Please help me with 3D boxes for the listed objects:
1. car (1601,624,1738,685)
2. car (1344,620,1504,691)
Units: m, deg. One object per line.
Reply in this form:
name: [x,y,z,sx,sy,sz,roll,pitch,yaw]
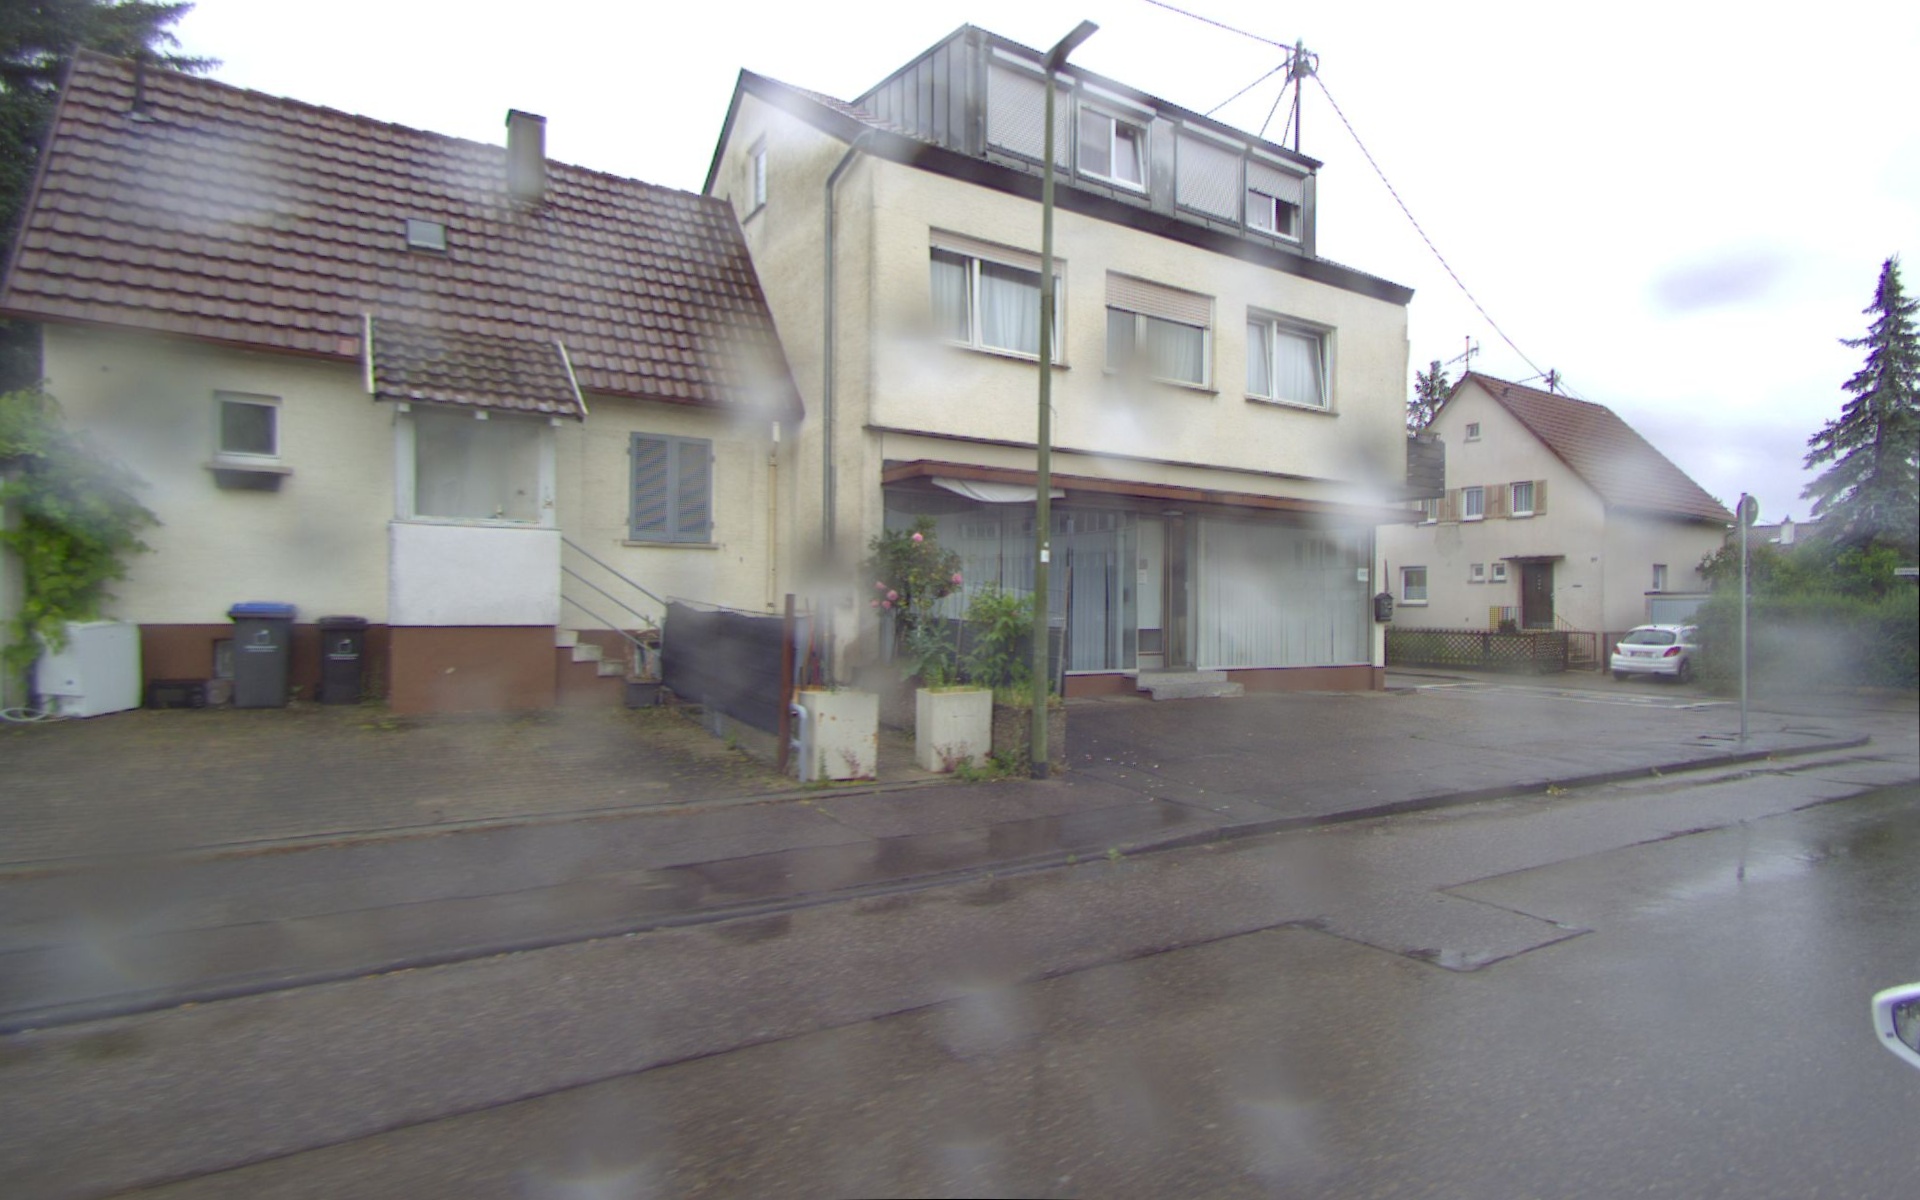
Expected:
car: [19.798,1.461,28.001,3.956,1.528,1.784,0,0,-32]
car: [12.733,1.539,27.462,4.498,1.680,1.848,5,-2,-33]
